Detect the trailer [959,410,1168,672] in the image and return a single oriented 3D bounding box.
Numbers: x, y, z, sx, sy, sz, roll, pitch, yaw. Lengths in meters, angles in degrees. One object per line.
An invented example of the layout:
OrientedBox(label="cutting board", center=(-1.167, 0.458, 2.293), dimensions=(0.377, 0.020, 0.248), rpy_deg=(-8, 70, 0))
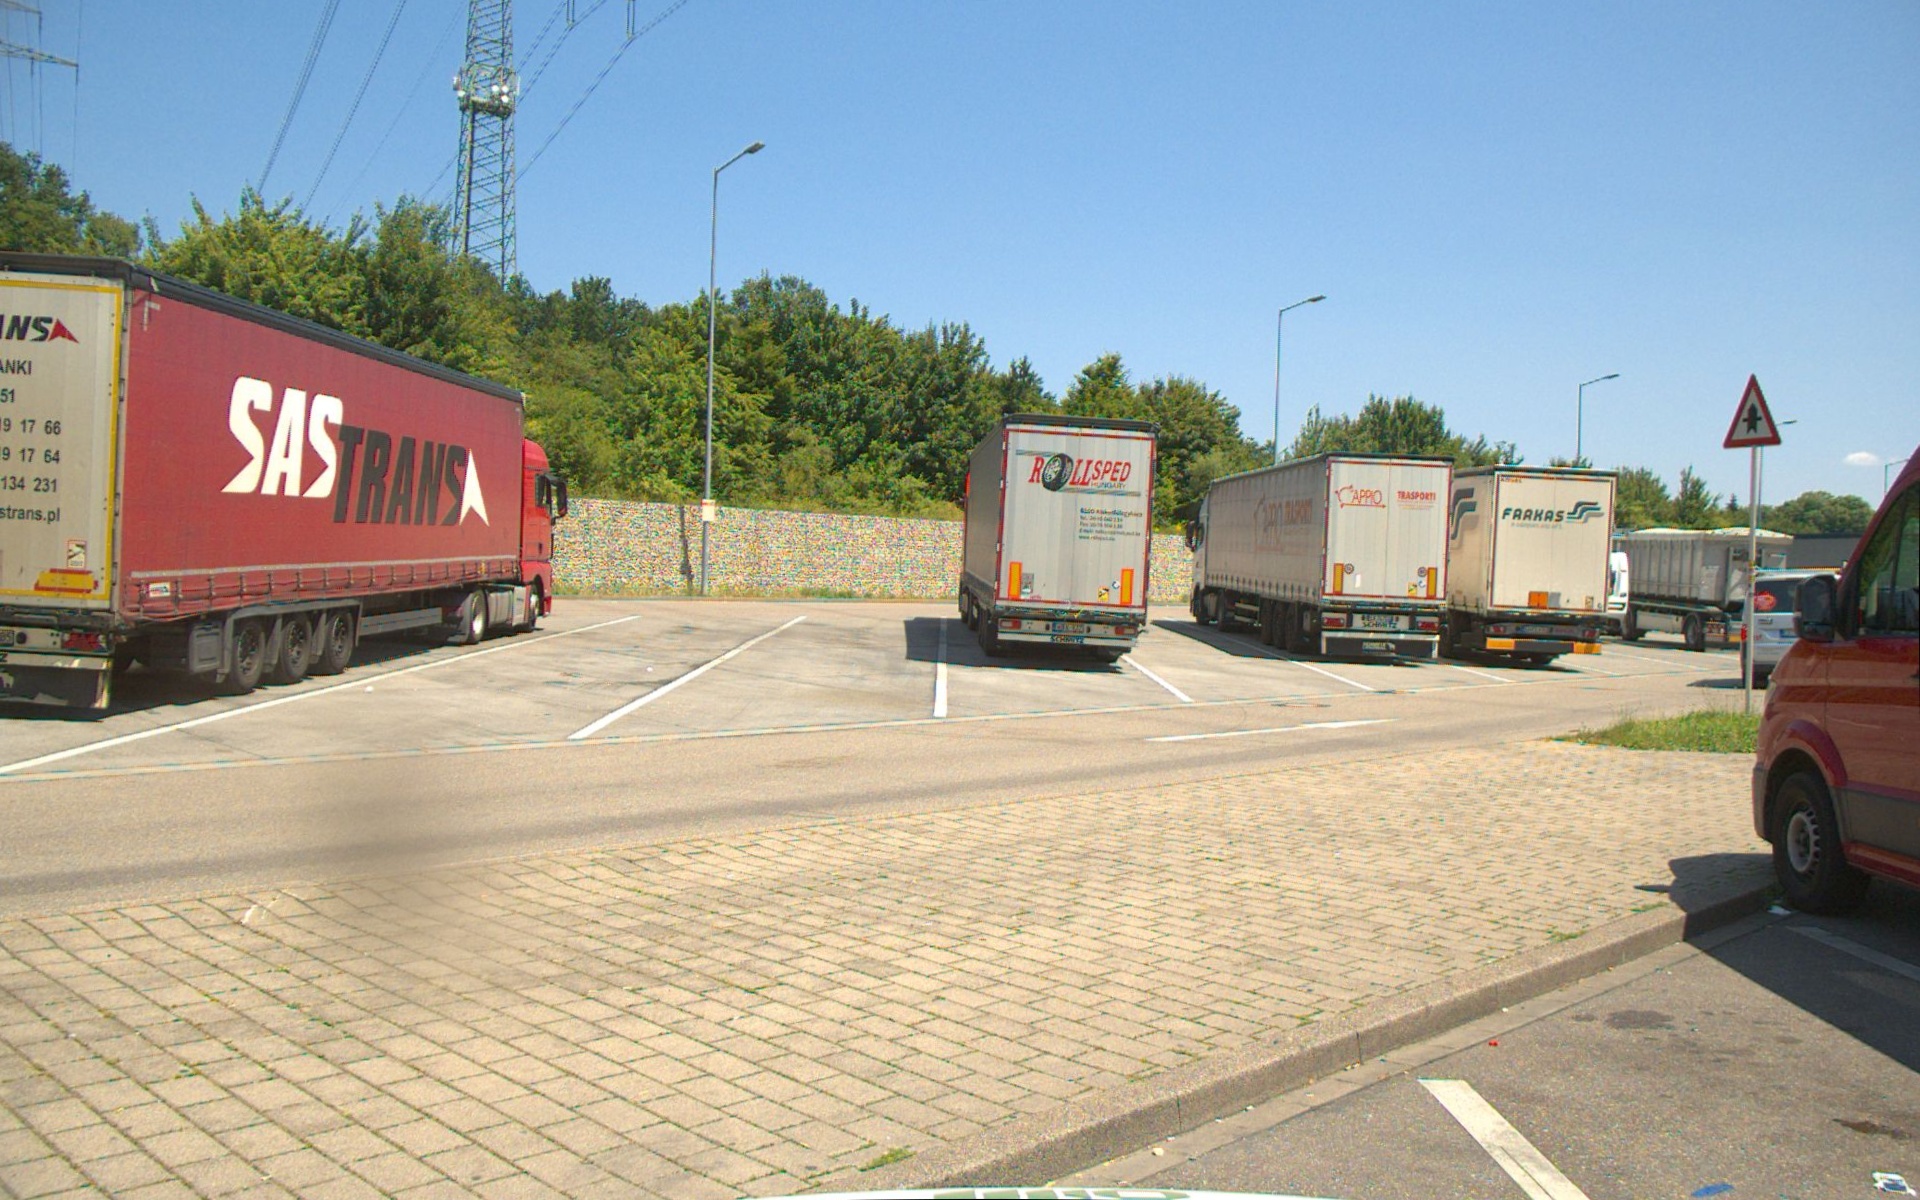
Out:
OrientedBox(label="trailer", center=(1.655, -1.239, 33.672), dimensions=(2.809, 4.107, 14.238), rpy_deg=(2, 2, -2))

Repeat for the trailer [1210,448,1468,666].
OrientedBox(label="trailer", center=(8.246, -1.089, 38.108), dimensions=(2.808, 4.107, 12.438), rpy_deg=(2, 2, -1))

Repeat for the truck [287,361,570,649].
OrientedBox(label="truck", center=(-8.696, -1.528, 27.879), dimensions=(2.641, 4.184, 6.239), rpy_deg=(2, 2, 0))

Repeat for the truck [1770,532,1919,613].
OrientedBox(label="truck", center=(34.699, -1.068, 63.643), dimensions=(2.082, 2.869, 9.777), rpy_deg=(1, 1, -1))

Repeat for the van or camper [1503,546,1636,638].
OrientedBox(label="van or camper", center=(18.465, -0.274, 50.371), dimensions=(2.061, 2.606, 5.372), rpy_deg=(1, 1, 0))

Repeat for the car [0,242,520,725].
OrientedBox(label="car", center=(-8.674, -1.280, 20.961), dimensions=(2.641, 4.184, 12.935), rpy_deg=(2, 2, 0))

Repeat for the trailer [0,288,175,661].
OrientedBox(label="trailer", center=(-12.544, -1.405, 17.162), dimensions=(2.756, 4.341, 12.940), rpy_deg=(2, 2, -1))

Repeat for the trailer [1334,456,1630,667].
OrientedBox(label="trailer", center=(11.823, -1.024, 39.226), dimensions=(2.808, 4.107, 12.438), rpy_deg=(2, 2, -1))

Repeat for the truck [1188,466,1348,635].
OrientedBox(label="truck", center=(8.166, -1.384, 44.739), dimensions=(2.808, 4.107, 6.956), rpy_deg=(2, 2, -1))

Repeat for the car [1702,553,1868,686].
OrientedBox(label="car", center=(14.881, 0.276, 30.123), dimensions=(1.952, 2.187, 5.315), rpy_deg=(1, 1, 19))

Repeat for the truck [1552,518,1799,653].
OrientedBox(label="truck", center=(21.747, -0.649, 51.248), dimensions=(2.437, 3.630, 11.423), rpy_deg=(2, 2, -1))

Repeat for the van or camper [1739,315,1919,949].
OrientedBox(label="van or camper", center=(4.994, 0.171, 5.562), dimensions=(1.954, 2.700, 6.482), rpy_deg=(1, 1, 3))

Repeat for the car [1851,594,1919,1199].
OrientedBox(label="car", center=(2.545, 0.792, 1.114), dimensions=(1.584, 1.509, 3.762), rpy_deg=(1, 1, -6))

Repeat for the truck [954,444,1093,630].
OrientedBox(label="truck", center=(1.424, -1.565, 40.753), dimensions=(2.809, 4.107, 7.026), rpy_deg=(2, 2, -2))
